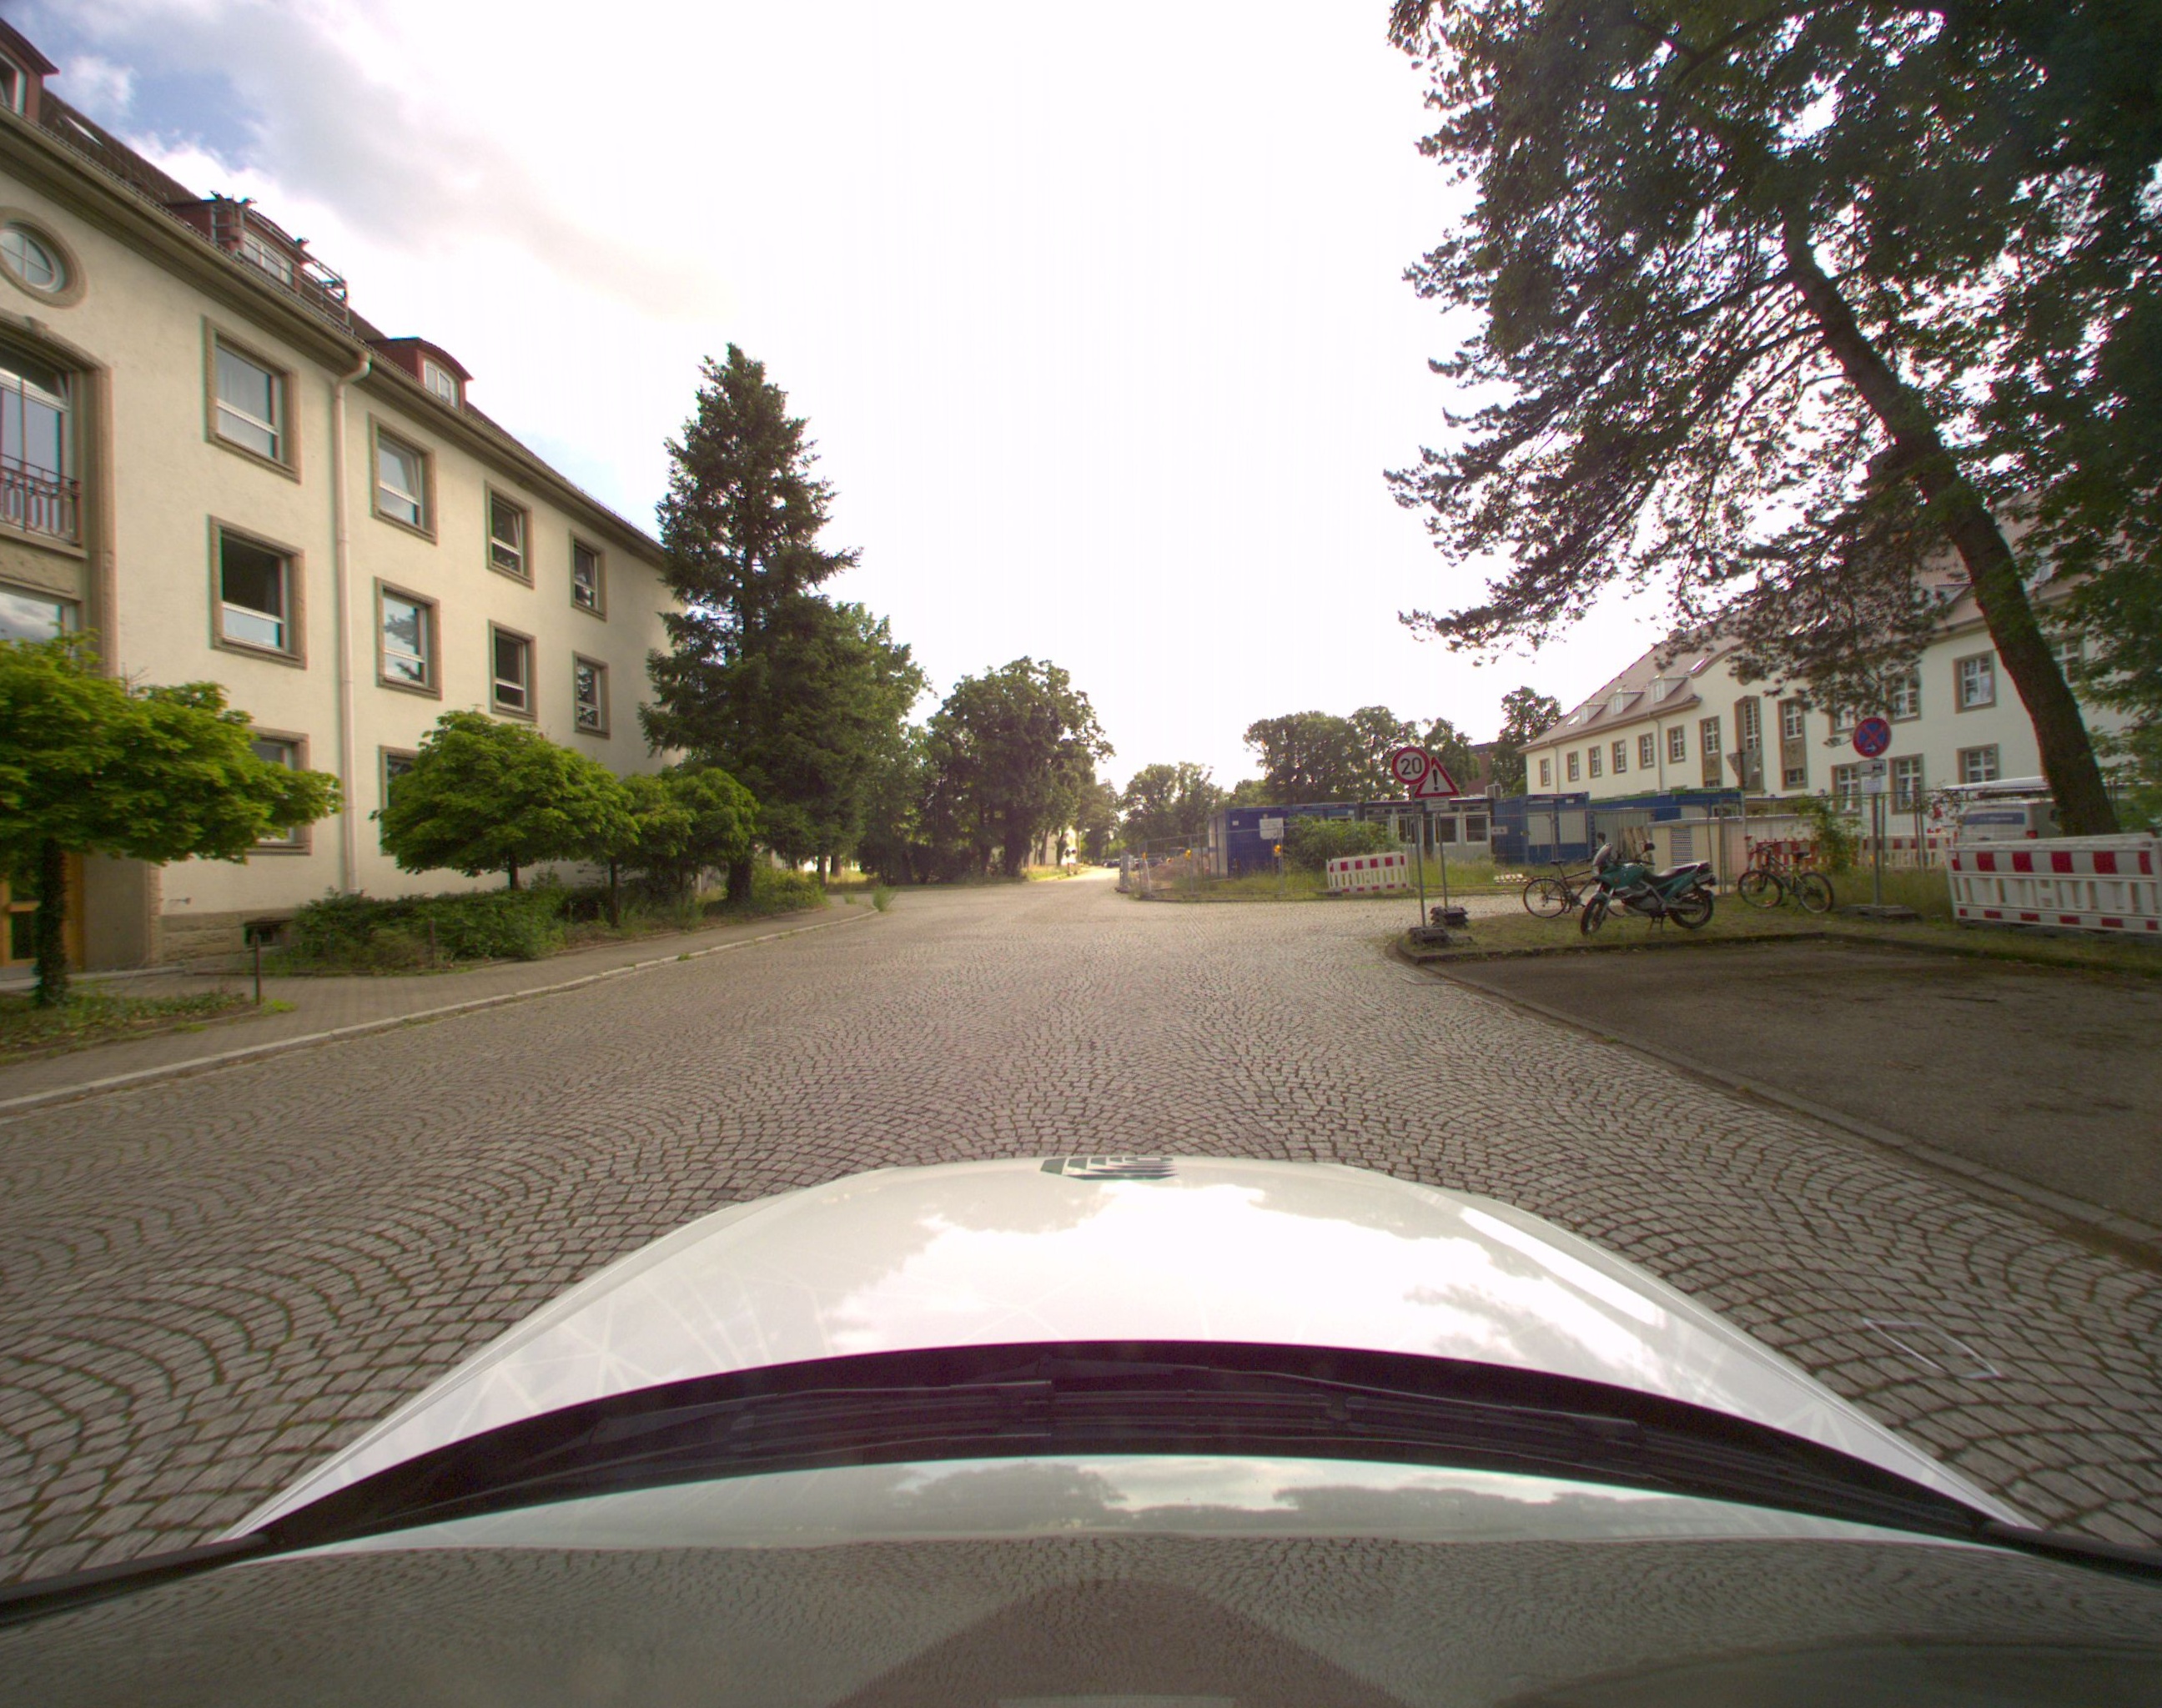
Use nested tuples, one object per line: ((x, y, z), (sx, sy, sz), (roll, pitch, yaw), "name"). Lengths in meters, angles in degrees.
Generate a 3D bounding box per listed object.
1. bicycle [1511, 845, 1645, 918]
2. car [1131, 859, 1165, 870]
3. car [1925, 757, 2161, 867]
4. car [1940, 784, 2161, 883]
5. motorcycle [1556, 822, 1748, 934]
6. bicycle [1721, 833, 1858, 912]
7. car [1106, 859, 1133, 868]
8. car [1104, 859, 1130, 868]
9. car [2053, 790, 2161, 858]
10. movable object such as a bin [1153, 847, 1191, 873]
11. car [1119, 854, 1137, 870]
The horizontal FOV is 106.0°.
((8.742, 0.492, 14.411), (1.882, 1.197, 0.659), (-3, -1, 22), "bicycle")
((9.145, 1.427, 110.560), (4.375, 1.510, 2.006), (-1, -1, 10), "car")
((26.433, -0.973, 21.752), (1.984, 2.556, 5.918), (-1, -1, 5), "car")
((21.985, -0.482, 17.509), (4.837, 1.920, 1.909), (-2, 1, 3), "car")
((8.350, 0.346, 11.971), (2.271, 1.485, 0.756), (-3, 0, -3), "motorcycle")
((11.469, 0.287, 13.277), (0.639, 1.169, 1.907), (-3, 0, 5), "bicycle")
((7.127, 1.802, 151.656), (4.769, 1.641, 1.998), (-2, -1, -3), "car")
((6.839, 1.837, 154.774), (4.769, 1.641, 1.998), (-2, -1, -3), "car")
((29.797, -0.814, 21.804), (1.984, 1.825, 4.882), (-1, -1, 6), "car")
((9.675, 0.594, 86.278), (2.108, 2.593, 4.821), (-2, -1, 32), "movable object such as a bin")
((5.937, 1.034, 103.176), (1.986, 2.014, 4.092), (-2, -1, 1), "car")
